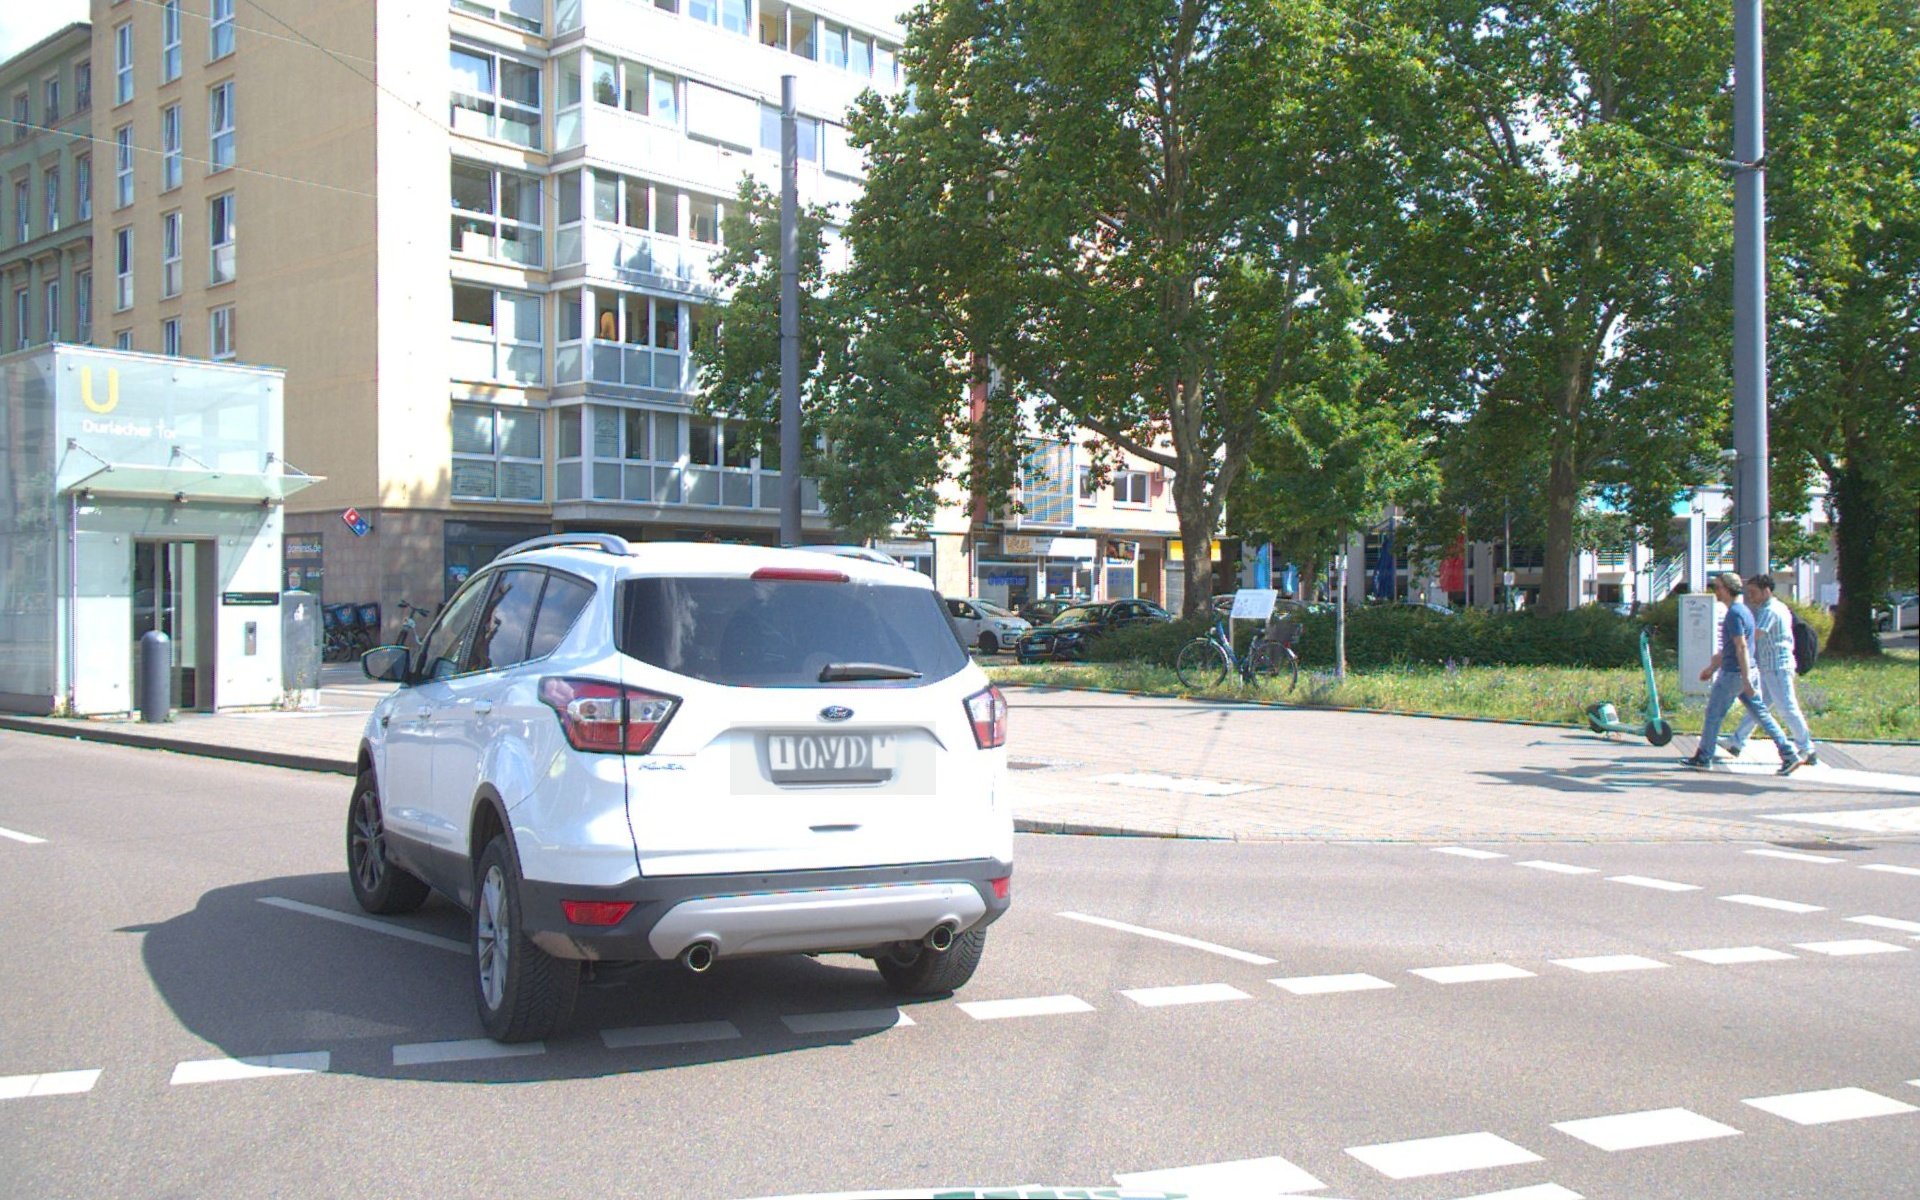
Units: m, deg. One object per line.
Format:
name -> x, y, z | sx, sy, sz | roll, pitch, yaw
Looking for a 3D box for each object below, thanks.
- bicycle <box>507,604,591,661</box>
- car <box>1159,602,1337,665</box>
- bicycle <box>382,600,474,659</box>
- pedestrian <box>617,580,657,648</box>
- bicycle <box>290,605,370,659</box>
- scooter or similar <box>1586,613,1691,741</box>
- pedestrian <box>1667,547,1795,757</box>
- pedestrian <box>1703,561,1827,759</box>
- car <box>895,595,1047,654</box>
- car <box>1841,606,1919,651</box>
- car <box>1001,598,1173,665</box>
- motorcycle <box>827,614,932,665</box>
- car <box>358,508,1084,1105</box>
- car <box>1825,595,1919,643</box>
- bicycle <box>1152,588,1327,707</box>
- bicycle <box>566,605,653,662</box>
bicycle -> -8.787, 0.674, 35.319 | 1.774, 1.167, 0.794 | 1, 1, 36
car -> 6.493, 0.757, 37.603 | 1.616, 1.350, 3.946 | 1, -1, -38
bicycle -> -11.784, 0.637, 36.673 | 1.793, 1.280, 0.785 | 0, 1, -40
pedestrian -> -7.997, 0.341, 40.915 | 0.844, 1.636, 0.828 | 1, 1, -18
bicycle -> -13.859, 0.688, 36.369 | 1.773, 1.123, 0.794 | 1, 1, 35
scooter or similar -> 6.882, 0.761, 16.821 | 0.391, 1.214, 1.172 | 1, 1, -10
pedestrian -> 6.803, 0.431, 14.601 | 0.907, 1.774, 0.587 | 2, 1, 33
pedestrian -> 7.514, 0.534, 15.442 | 0.908, 1.774, 0.587 | 2, 1, 35
car -> 0.276, 0.627, 45.018 | 3.924, 1.521, 1.794 | 0, 0, 39
car -> 39.179, 1.197, 69.003 | 1.815, 1.821, 3.963 | 1, -1, -28
car -> 2.906, 0.712, 37.301 | 1.877, 1.438, 3.976 | 0, -1, 42
motorcycle -> -1.557, 0.760, 32.305 | 1.995, 0.933, 0.811 | -1, 0, 1
car -> -1.279, 0.604, 6.871 | 1.806, 1.693, 3.919 | 0, -1, -28
car -> 36.182, 0.756, 65.629 | 1.798, 1.821, 4.001 | 1, -1, 3
bicycle -> 3.640, 0.587, 21.653 | 2.134, 1.439, 0.808 | 1, 2, 39
bicycle -> -7.605, 0.705, 35.880 | 1.911, 1.167, 0.794 | 1, 1, 36
